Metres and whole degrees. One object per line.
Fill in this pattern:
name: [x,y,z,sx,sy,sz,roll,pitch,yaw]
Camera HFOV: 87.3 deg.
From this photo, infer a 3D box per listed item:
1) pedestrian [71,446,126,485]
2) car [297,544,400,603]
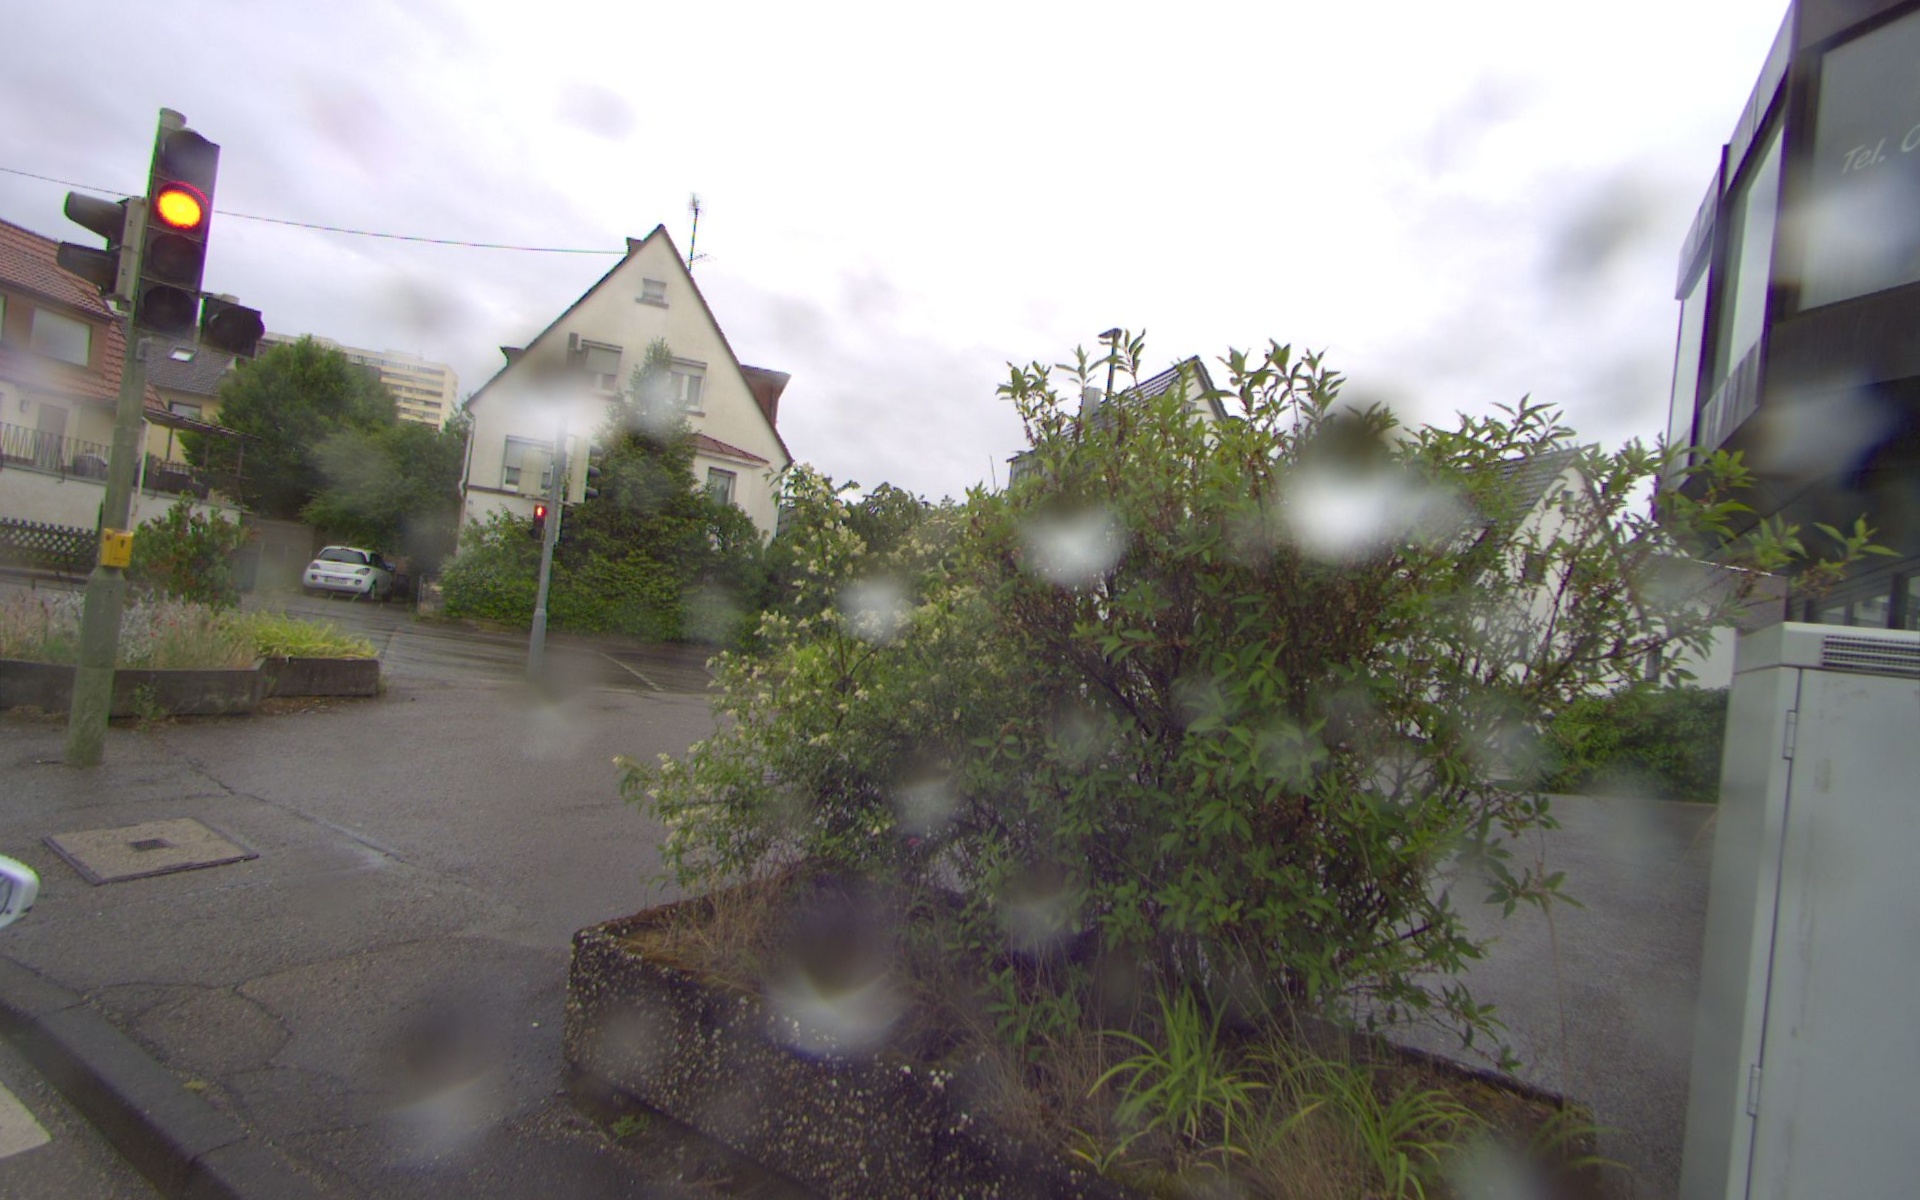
pedestrian: [-24.286,-3.794,28.367,0.623,0.893,0.920,5,-2,13]
car: [-17.770,-0.736,29.417,1.794,1.378,3.981,8,-2,-22]
